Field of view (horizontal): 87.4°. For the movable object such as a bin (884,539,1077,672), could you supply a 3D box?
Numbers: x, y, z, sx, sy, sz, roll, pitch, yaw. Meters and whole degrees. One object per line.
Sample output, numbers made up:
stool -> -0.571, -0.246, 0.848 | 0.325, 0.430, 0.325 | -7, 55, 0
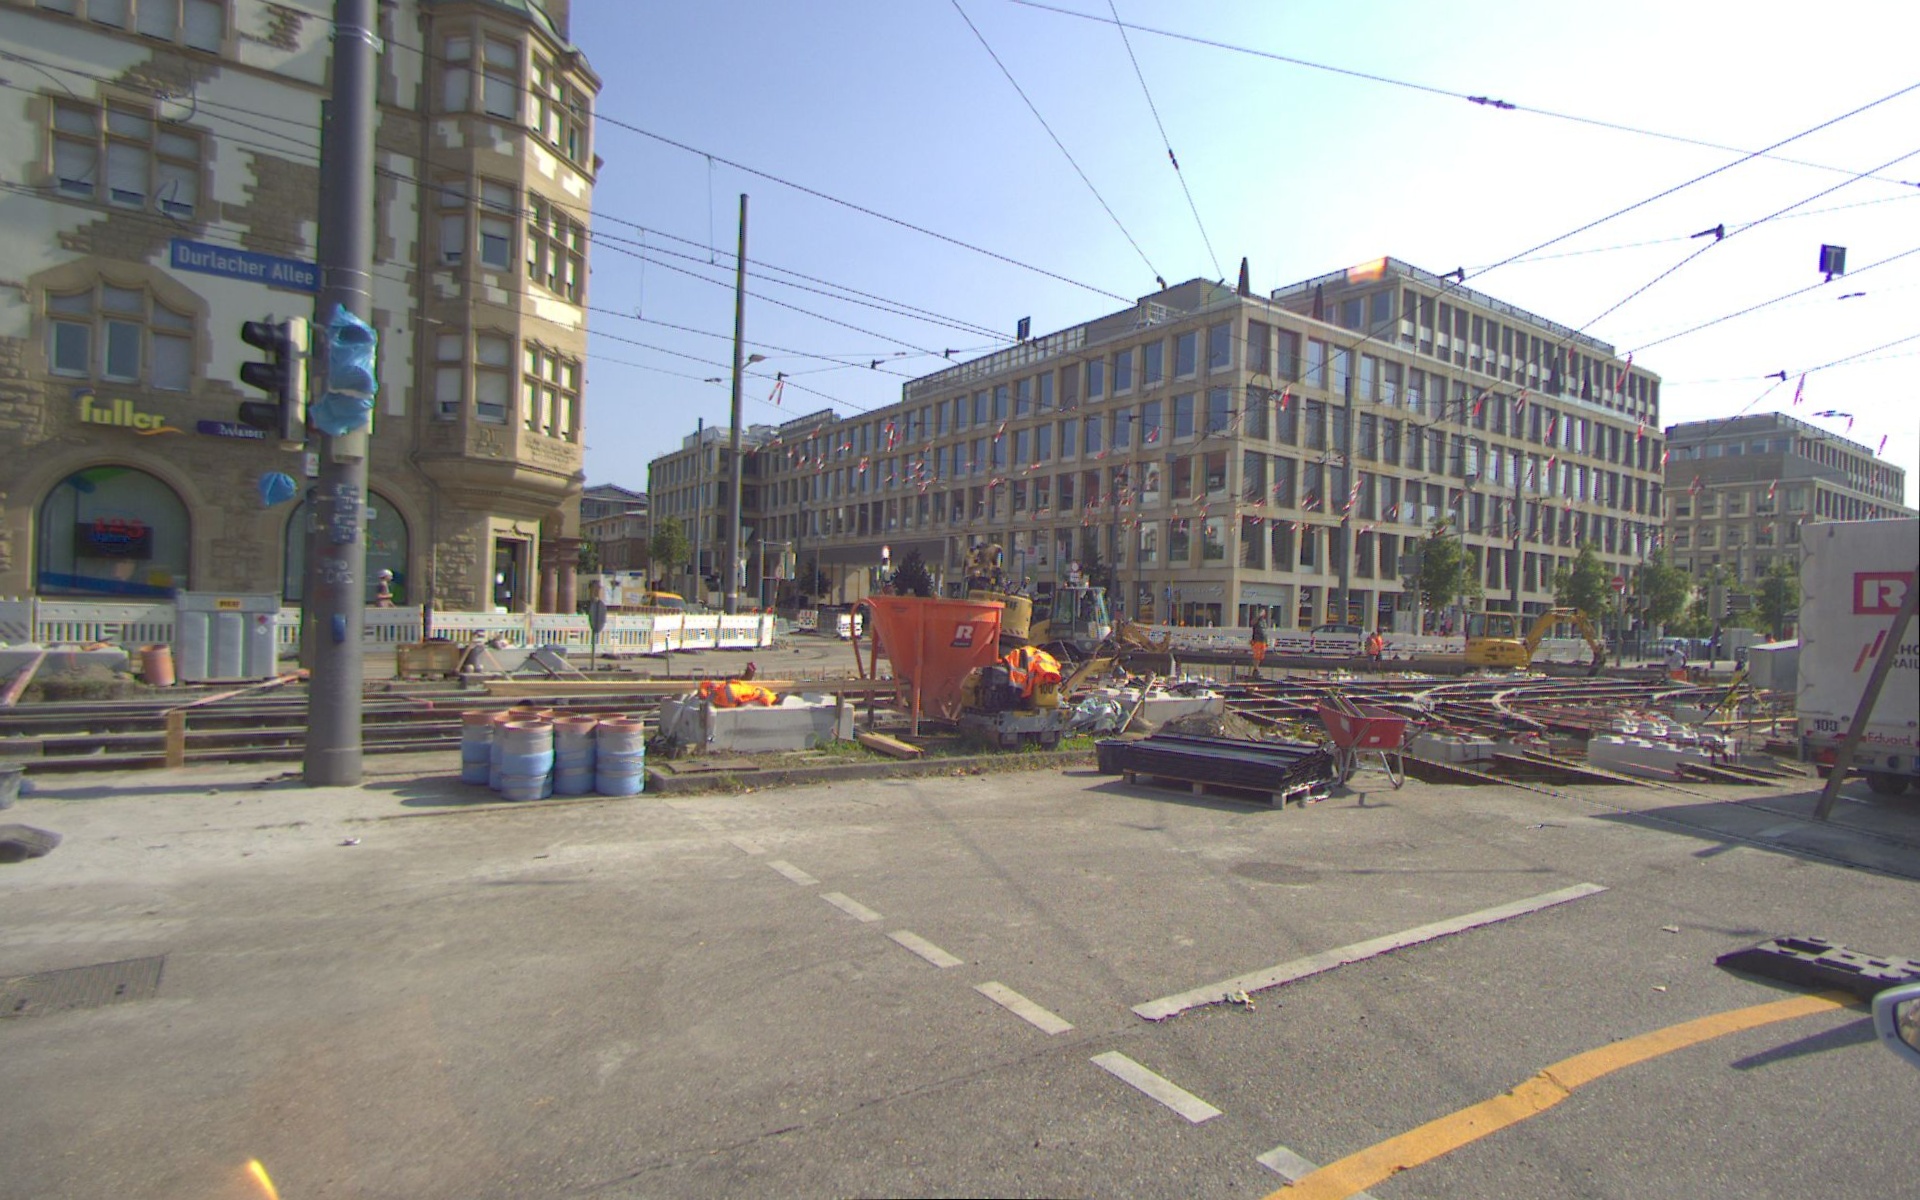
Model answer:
movable object such as a bin -> 0.549, 0.263, 38.742 | 4.896, 4.404, 7.346 | 3, -2, -21

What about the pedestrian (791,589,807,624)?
pedestrian -> -9.565, 0.368, 59.628 | 0.633, 2.040, 0.670 | 2, 0, -45

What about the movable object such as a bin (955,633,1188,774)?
movable object such as a bin -> 1.119, 0.972, 9.863 | 2.189, 1.227, 0.882 | 3, -1, -33

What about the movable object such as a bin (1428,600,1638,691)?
movable object such as a bin -> 21.955, 1.774, 38.305 | 8.392, 2.997, 3.590 | 4, 0, -35

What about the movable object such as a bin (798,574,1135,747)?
movable object such as a bin -> 0.107, 0.617, 10.735 | 3.251, 1.579, 1.591 | 3, -1, -33

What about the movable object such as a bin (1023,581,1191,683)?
movable object such as a bin -> 4.585, 0.963, 31.140 | 4.721, 2.872, 2.450 | 2, -1, 19

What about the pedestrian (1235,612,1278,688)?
pedestrian -> 7.760, 1.308, 26.305 | 0.713, 1.938, 0.784 | 2, -1, -25

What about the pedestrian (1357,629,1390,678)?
pedestrian -> 16.484, 2.120, 40.047 | 0.805, 1.889, 0.914 | 2, 0, -45

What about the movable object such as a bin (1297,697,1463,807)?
movable object such as a bin -> 3.623, 1.288, 8.826 | 0.704, 0.723, 1.723 | 2, -1, -1

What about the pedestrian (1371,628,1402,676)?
pedestrian -> 17.475, 2.133, 41.148 | 0.799, 1.889, 0.751 | 2, 0, -25
